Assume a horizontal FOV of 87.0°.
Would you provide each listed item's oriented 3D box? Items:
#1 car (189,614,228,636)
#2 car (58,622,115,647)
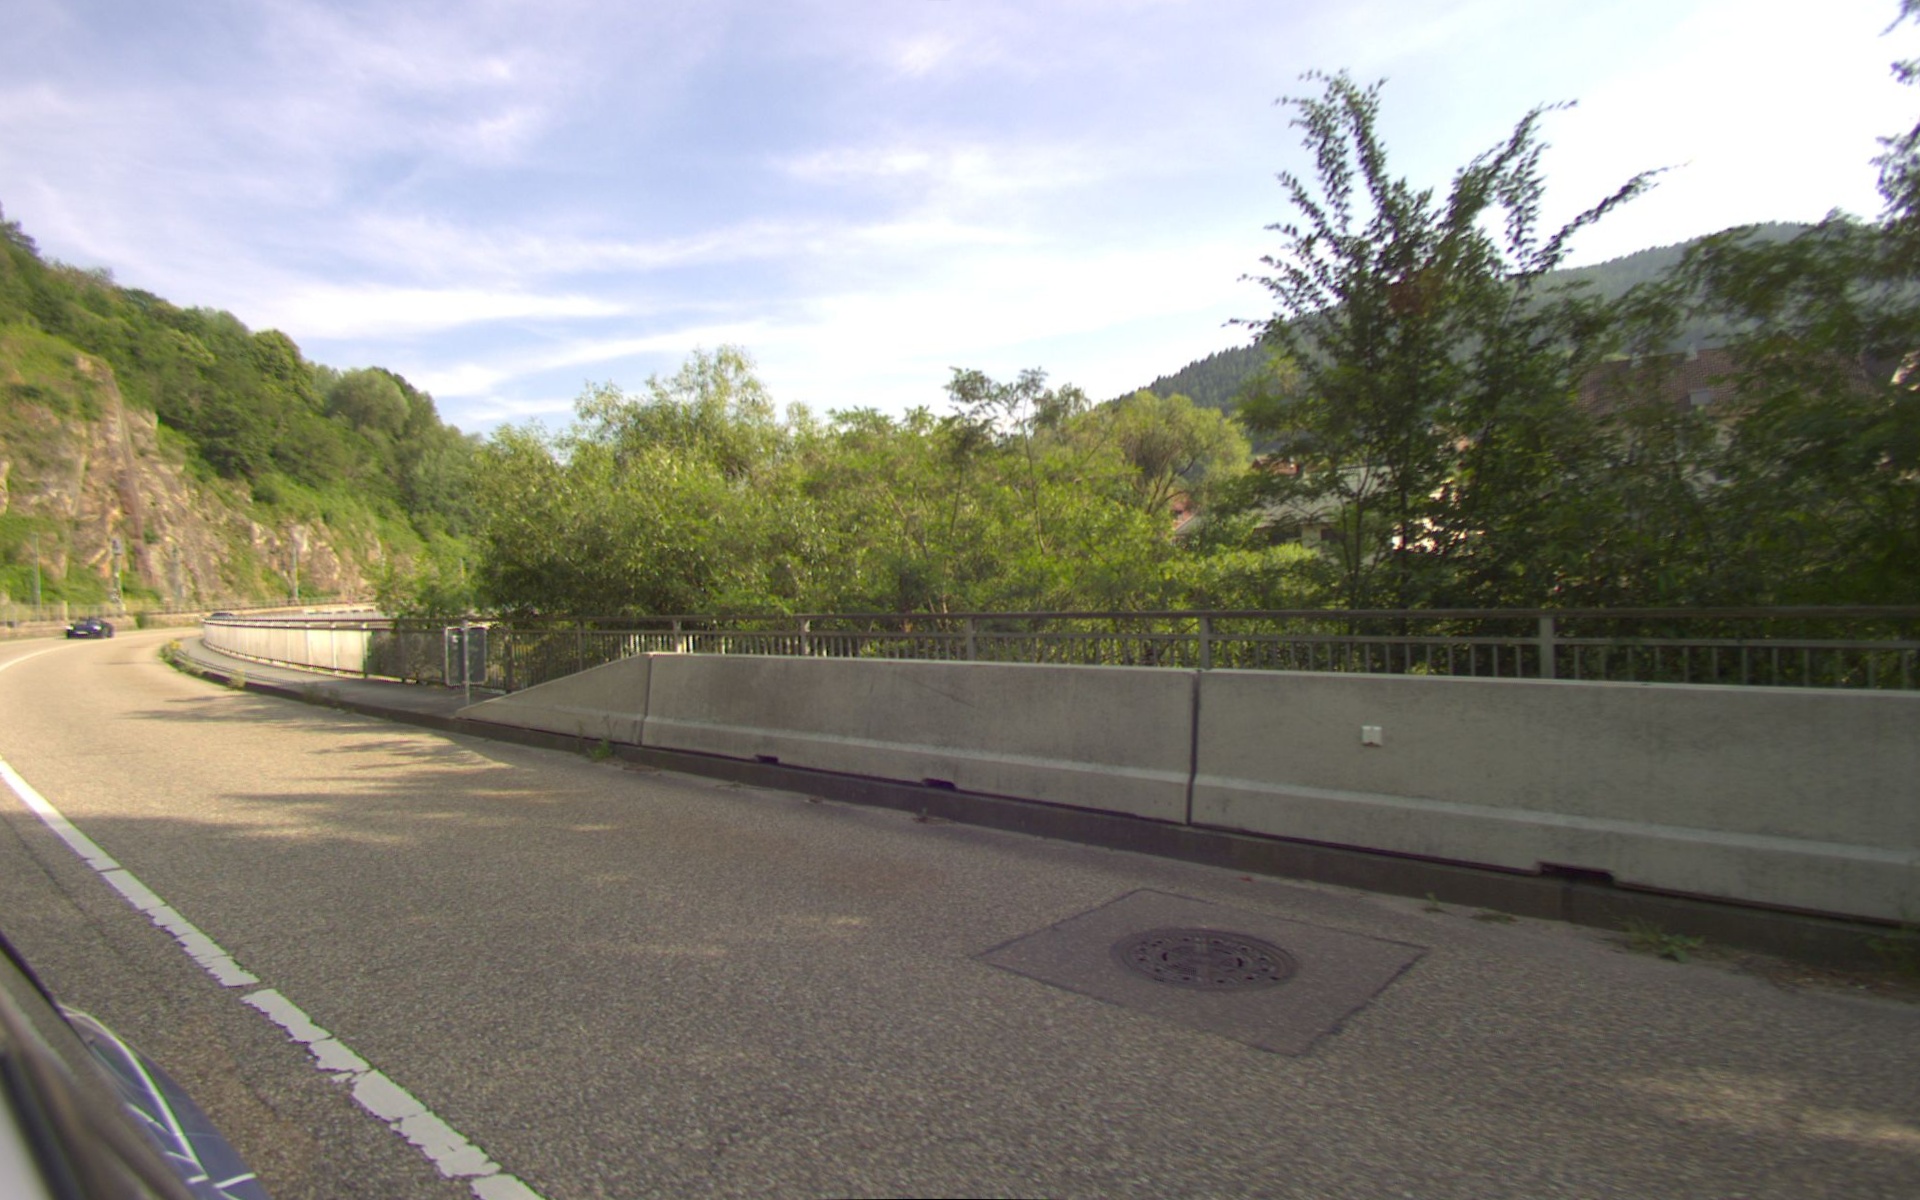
[{"bbox_3d":[-71.685,2.368,96.574,1.965,2.029,4.013,-1,0,-22],"label":"car"},{"bbox_3d":[-56.371,2.180,65.362,1.966,1.506,4.233,0,-1,-29],"label":"car"}]
